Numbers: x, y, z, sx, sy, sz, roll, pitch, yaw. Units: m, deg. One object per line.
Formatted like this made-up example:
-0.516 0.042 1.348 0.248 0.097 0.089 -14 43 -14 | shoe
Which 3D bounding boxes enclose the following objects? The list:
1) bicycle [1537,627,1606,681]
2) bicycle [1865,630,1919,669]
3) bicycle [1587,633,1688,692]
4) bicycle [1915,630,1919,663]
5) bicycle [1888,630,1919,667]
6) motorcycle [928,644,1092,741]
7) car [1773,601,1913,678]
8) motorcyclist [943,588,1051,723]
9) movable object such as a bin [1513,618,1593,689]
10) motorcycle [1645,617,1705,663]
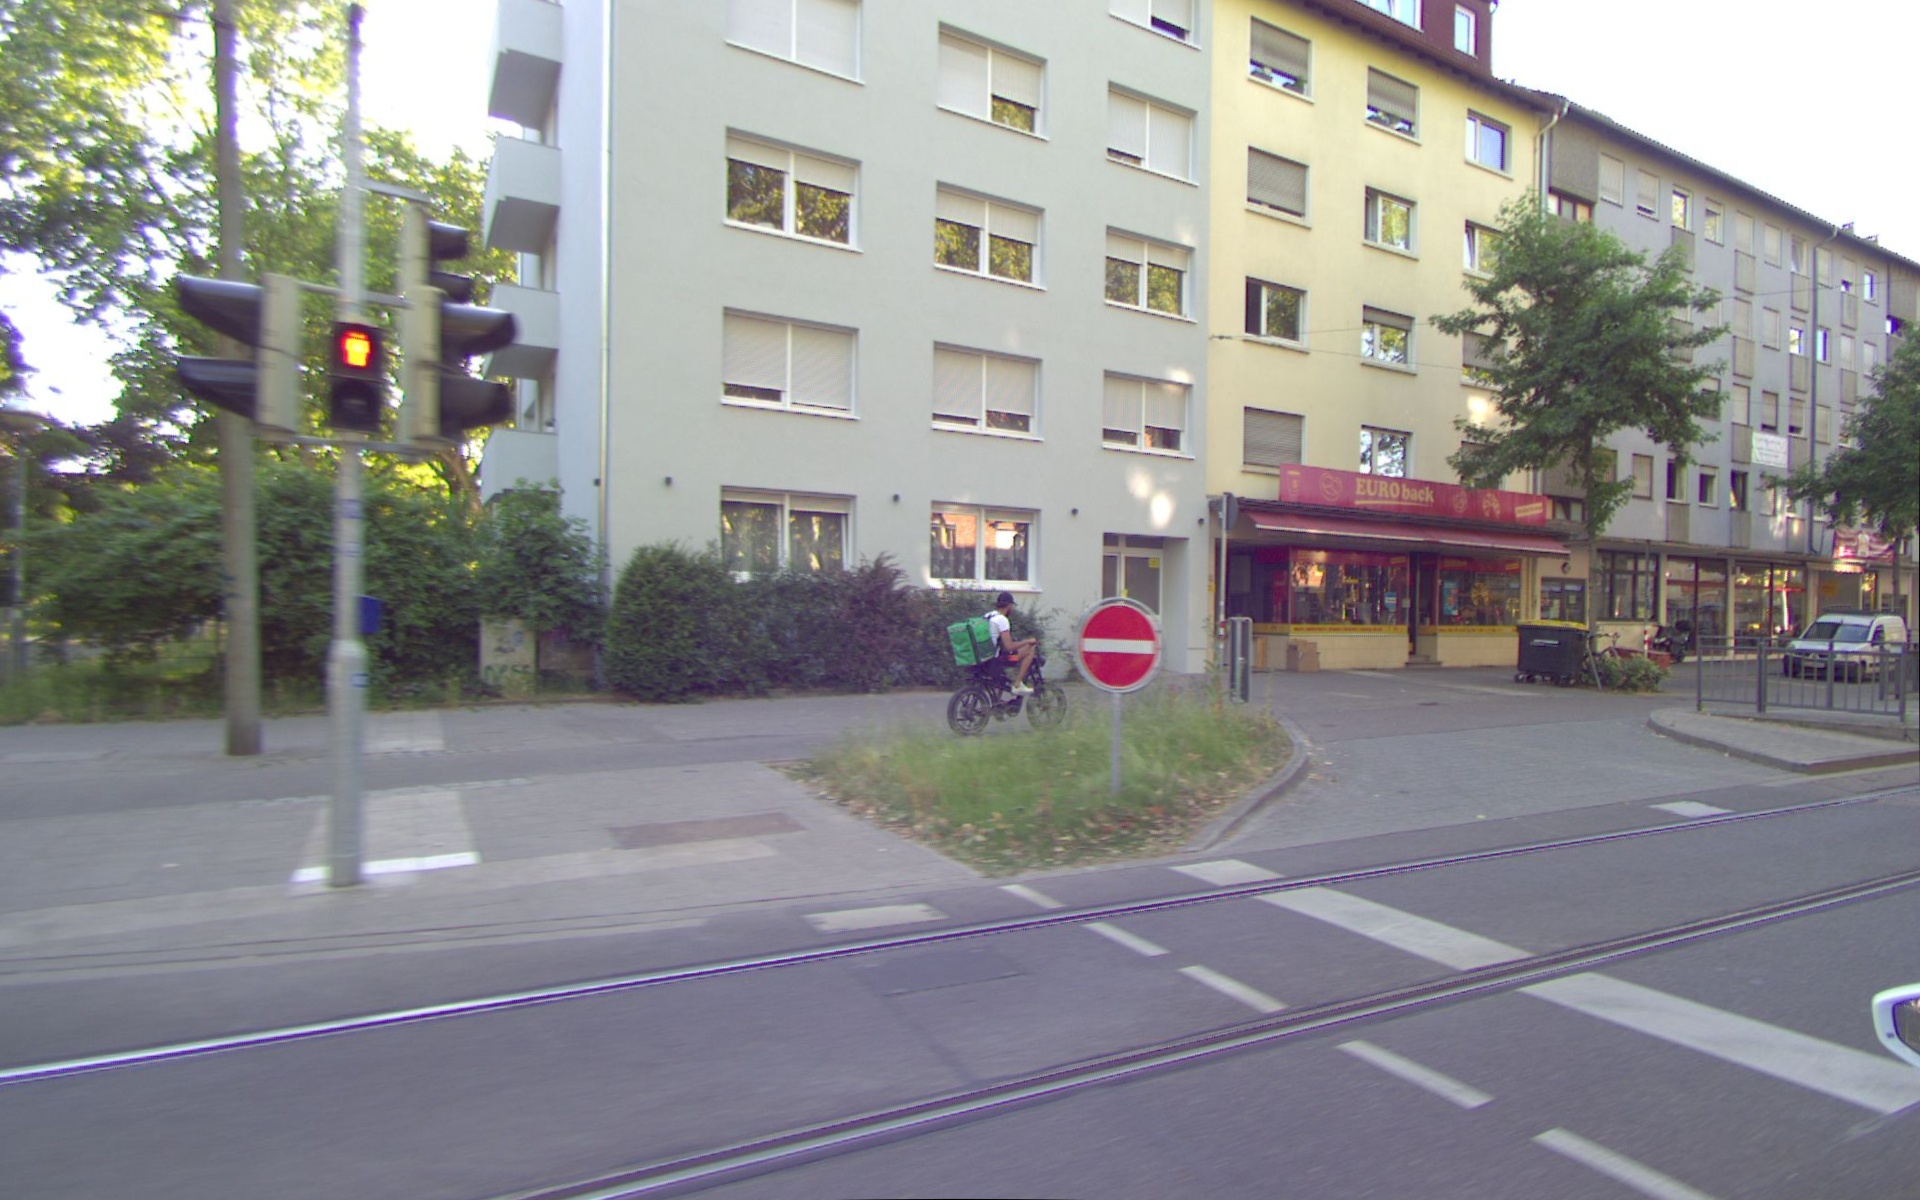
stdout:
13.509 1.185 22.184 1.780 1.122 0.495 1 3 -33 | bicycle
29.040 1.532 30.455 0.628 1.088 2.243 1 3 -27 | bicycle
14.564 1.318 21.623 0.875 1.089 1.526 1 3 -30 | bicycle
32.519 1.612 32.495 0.628 1.088 2.243 1 3 -27 | bicycle
30.472 1.580 31.228 0.628 1.088 2.243 1 3 -27 | bicycle
0.591 1.026 11.530 1.854 1.046 0.593 1 -2 -29 | motorcycle
24.124 1.051 27.418 3.952 1.966 1.680 1 -1 -30 | car
0.422 0.622 11.461 1.090 1.468 0.593 1 -2 -29 | motorcyclist
12.486 1.100 21.170 0.775 1.366 1.163 1 3 -33 | movable object such as a bin
21.369 1.180 30.014 2.195 1.328 0.596 1 -1 -30 | motorcycle
